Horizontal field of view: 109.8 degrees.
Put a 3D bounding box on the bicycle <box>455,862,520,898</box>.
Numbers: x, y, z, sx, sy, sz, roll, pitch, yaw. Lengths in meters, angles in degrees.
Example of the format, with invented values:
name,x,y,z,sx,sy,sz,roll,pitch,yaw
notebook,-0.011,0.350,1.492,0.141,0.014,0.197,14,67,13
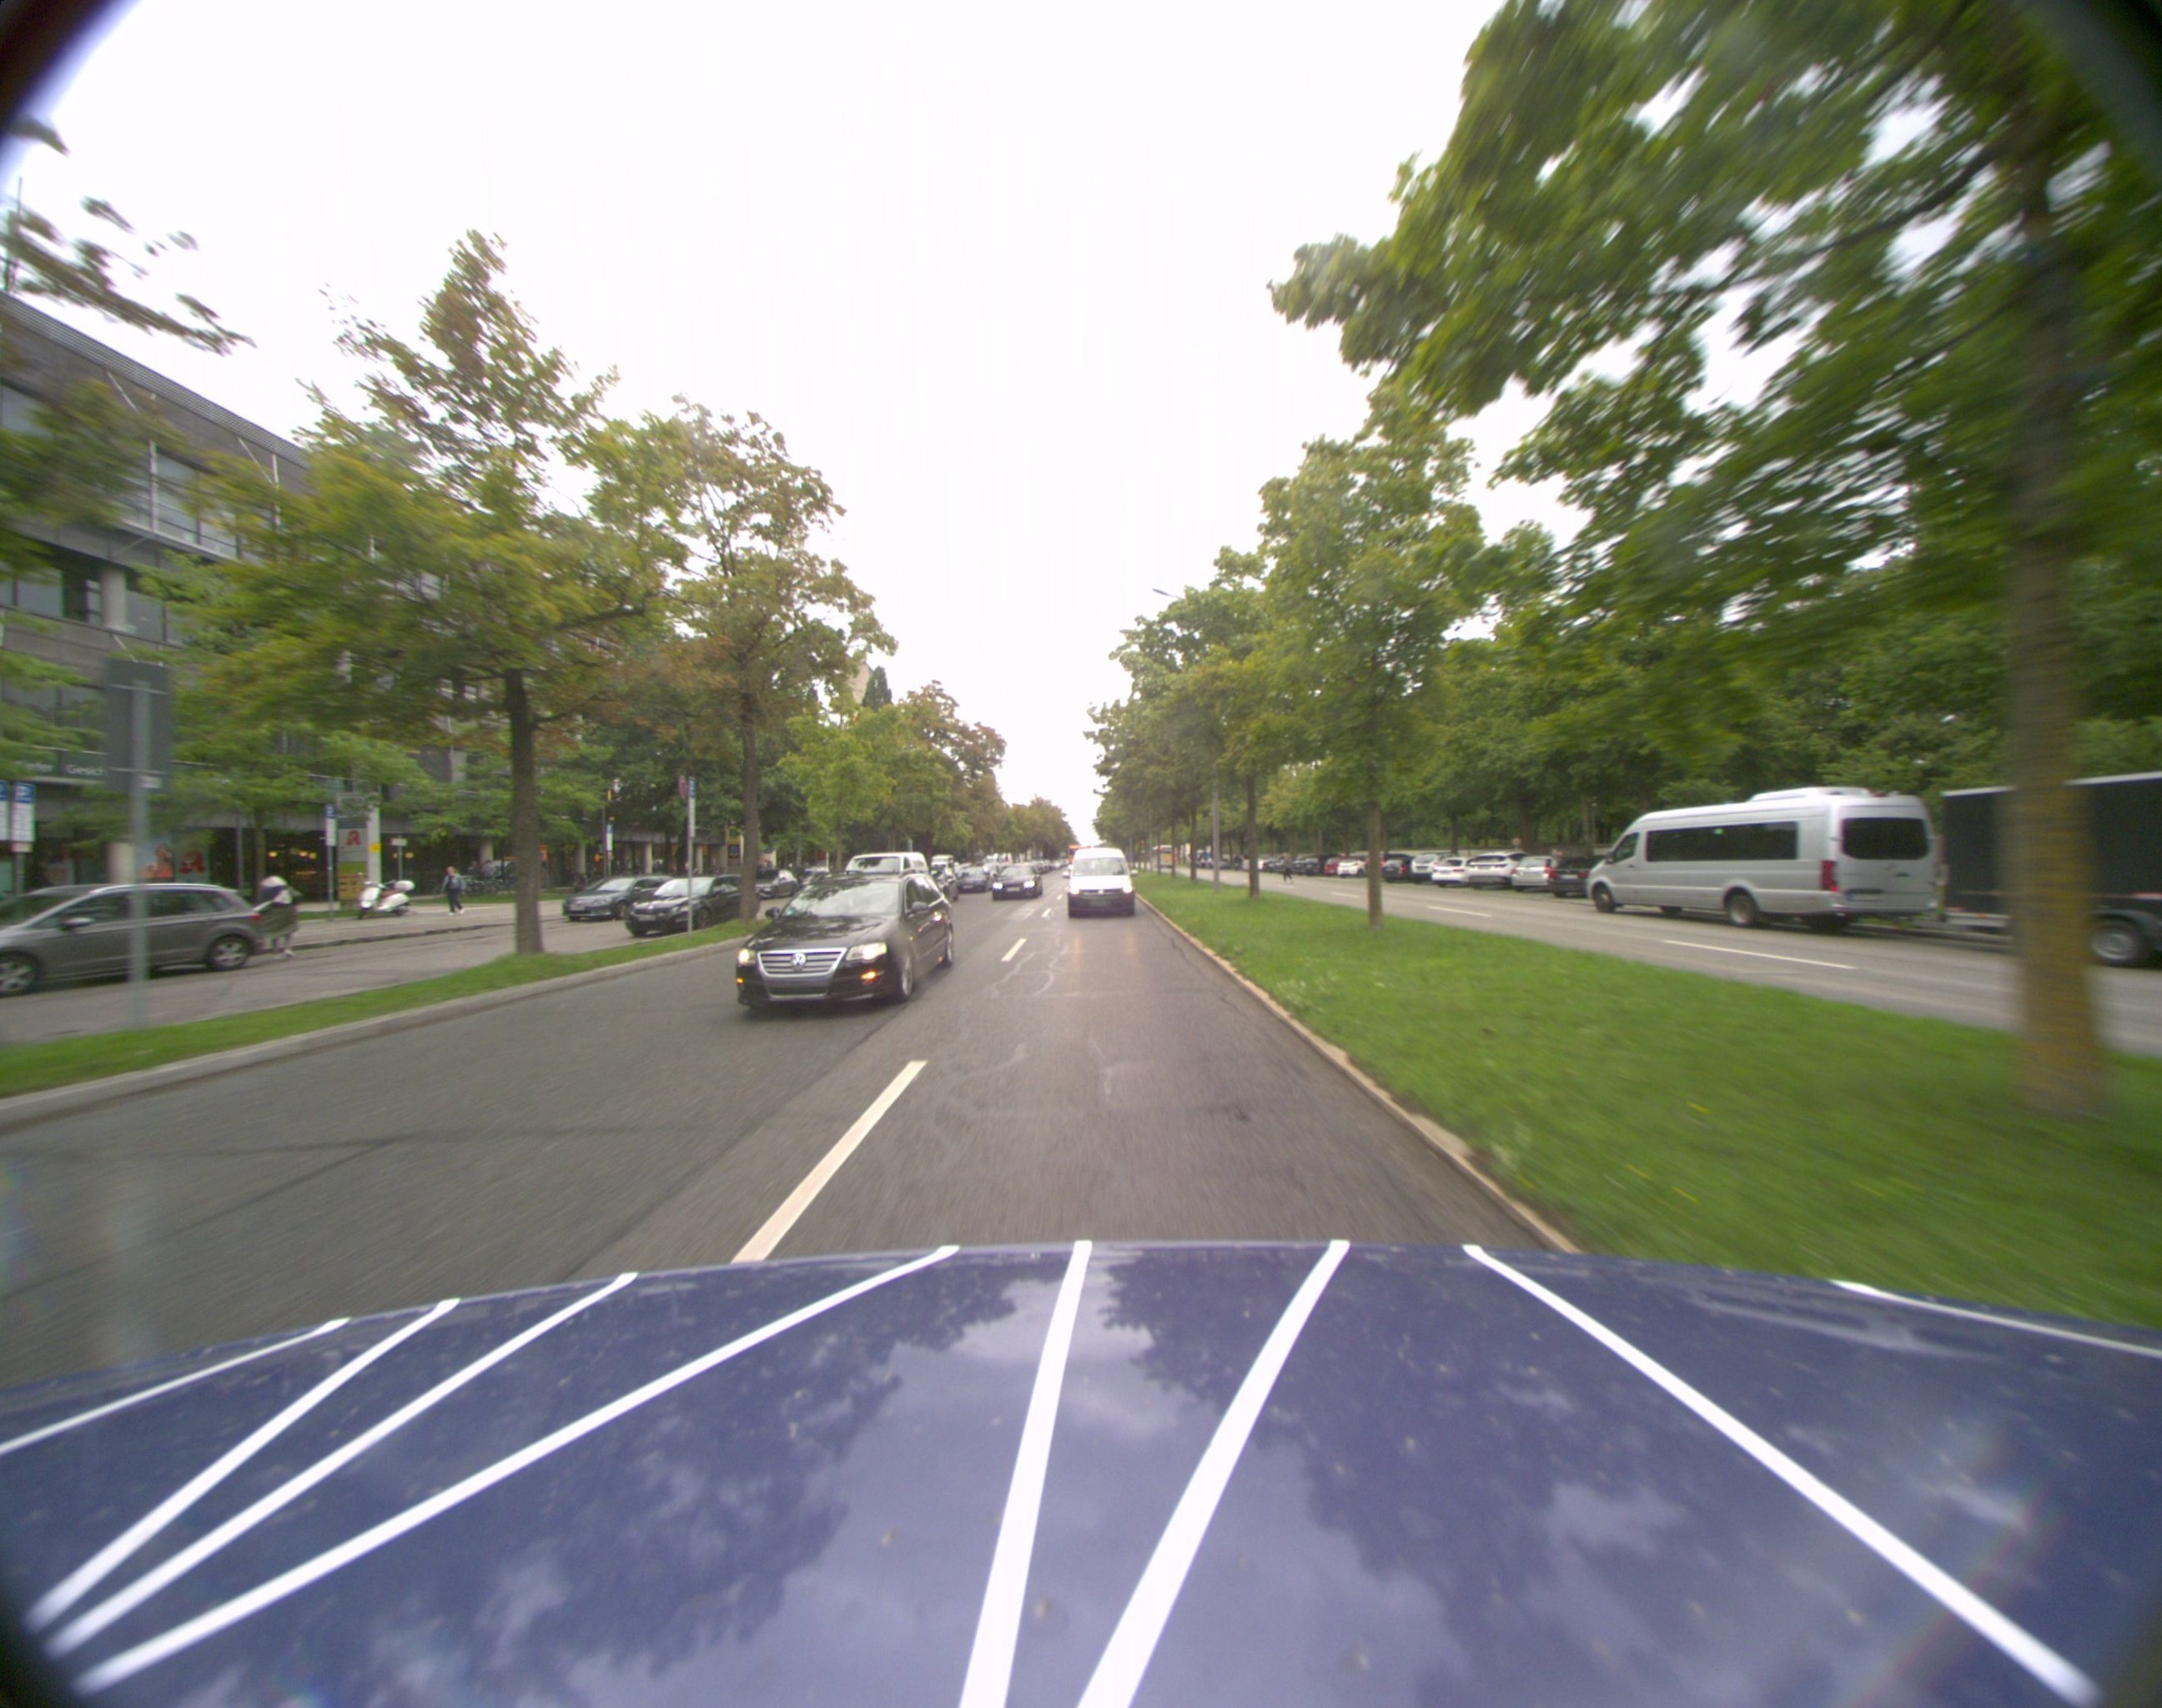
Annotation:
name,x,y,z,sx,sy,sz,roll,pitch,yaw
bicycle,-28.161,1.226,36.077,2.316,1.613,0.648,-1,0,-16

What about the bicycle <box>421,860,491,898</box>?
name,x,y,z,sx,sy,sz,roll,pitch,yaw
bicycle,-27.938,1.104,33.987,2.316,1.613,0.648,-1,0,-16

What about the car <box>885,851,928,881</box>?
name,x,y,z,sx,sy,sz,roll,pitch,yaw
car,-15.397,1.015,67.313,2.268,2.514,5.858,-1,0,1

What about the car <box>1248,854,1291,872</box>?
name,x,y,z,sx,sy,sz,roll,pitch,yaw
car,19.078,0.887,76.920,4.006,1.548,1.887,-3,-1,-31

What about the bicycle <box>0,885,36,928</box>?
name,x,y,z,sx,sy,sz,roll,pitch,yaw
bicycle,-29.088,1.408,20.170,2.080,1.114,0.455,-1,0,1

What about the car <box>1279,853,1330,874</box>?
name,x,y,z,sx,sy,sz,roll,pitch,yaw
car,19.144,0.848,64.974,4.006,1.548,1.887,-3,-1,-31

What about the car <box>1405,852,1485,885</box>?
name,x,y,z,sx,sy,sz,roll,pitch,yaw
car,19.395,0.744,40.430,4.331,1.564,1.797,-2,1,-33

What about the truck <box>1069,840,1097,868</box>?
name,x,y,z,sx,sy,sz,roll,pitch,yaw
truck,0.306,-0.052,93.439,3.046,3.170,9.134,-2,0,2

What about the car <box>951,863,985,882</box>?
name,x,y,z,sx,sy,sz,roll,pitch,yaw
car,-9.296,1.501,62.663,1.826,1.338,4.438,-3,0,3

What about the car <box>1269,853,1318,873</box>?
name,x,y,z,sx,sy,sz,roll,pitch,yaw
car,19.022,0.813,67.905,4.006,1.548,1.887,-3,-1,-31

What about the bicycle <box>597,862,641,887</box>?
name,x,y,z,sx,sy,sz,roll,pitch,yaw
bicycle,-28.261,1.250,46.478,2.313,1.523,0.649,-1,0,1

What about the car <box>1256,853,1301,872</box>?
name,x,y,z,sx,sy,sz,roll,pitch,yaw
car,19.378,0.828,74.447,4.006,1.548,1.887,-3,-1,-31

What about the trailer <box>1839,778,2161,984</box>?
name,x,y,z,sx,sy,sz,roll,pitch,yaw
trailer,14.548,0.347,11.265,2.022,2.575,4.659,0,0,1

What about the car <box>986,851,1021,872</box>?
name,x,y,z,sx,sy,sz,roll,pitch,yaw
car,-10.412,0.958,102.724,1.975,2.641,6.014,-3,0,21

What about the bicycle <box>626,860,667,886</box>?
name,x,y,z,sx,sy,sz,roll,pitch,yaw
bicycle,-28.261,1.219,49.447,2.313,1.613,0.649,-1,0,1

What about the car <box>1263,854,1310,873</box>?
name,x,y,z,sx,sy,sz,roll,pitch,yaw
car,19.320,0.849,71.375,4.006,1.548,1.887,-3,-1,-31

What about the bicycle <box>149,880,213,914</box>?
name,x,y,z,sx,sy,sz,roll,pitch,yaw
bicycle,-32.408,1.527,27.390,0.455,1.113,1.554,-1,0,-3

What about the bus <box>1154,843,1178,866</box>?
name,x,y,z,sx,sy,sz,roll,pitch,yaw
bus,12.957,0.010,116.258,2.676,3.279,11.926,0,0,2

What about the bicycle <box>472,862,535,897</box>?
name,x,y,z,sx,sy,sz,roll,pitch,yaw
bicycle,-28.091,1.213,36.970,2.316,1.613,0.648,-1,0,-16

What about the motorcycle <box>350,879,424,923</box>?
name,x,y,z,sx,sy,sz,roll,pitch,yaw
motorcycle,-21.479,1.418,23.562,0.473,1.223,1.948,2,0,1

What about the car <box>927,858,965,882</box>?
name,x,y,z,sx,sy,sz,roll,pitch,yaw
car,-9.568,1.113,54.283,1.826,1.581,4.875,-3,0,0

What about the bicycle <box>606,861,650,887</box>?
name,x,y,z,sx,sy,sz,roll,pitch,yaw
bicycle,-28.402,1.251,47.642,2.313,1.613,0.649,-1,0,1

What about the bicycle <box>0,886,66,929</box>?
name,x,y,z,sx,sy,sz,roll,pitch,yaw
bicycle,-29.243,1.468,20.888,2.080,1.114,0.455,-1,0,1

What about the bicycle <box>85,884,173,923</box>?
name,x,y,z,sx,sy,sz,roll,pitch,yaw
bicycle,-28.688,1.488,22.910,2.080,1.114,0.455,-1,0,1

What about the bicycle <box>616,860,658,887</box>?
name,x,y,z,sx,sy,sz,roll,pitch,yaw
bicycle,-28.360,1.243,48.543,2.313,1.613,0.649,-1,0,1

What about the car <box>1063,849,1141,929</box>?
name,x,y,z,sx,sy,sz,roll,pitch,yaw
car,0.499,0.828,20.251,1.750,1.807,4.667,-3,0,0

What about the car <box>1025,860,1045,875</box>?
name,x,y,z,sx,sy,sz,roll,pitch,yaw
car,-4.795,1.388,79.627,1.735,1.507,4.442,-3,0,0

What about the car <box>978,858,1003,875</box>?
name,x,y,z,sx,sy,sz,roll,pitch,yaw
car,-8.915,1.233,75.165,1.826,1.534,4.055,-3,0,1

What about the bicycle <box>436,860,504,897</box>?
name,x,y,z,sx,sy,sz,roll,pitch,yaw
bicycle,-28.049,1.124,34.915,2.316,1.613,0.648,-1,0,-16

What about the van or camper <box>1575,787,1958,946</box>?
name,x,y,z,sx,sy,sz,roll,pitch,yaw
van or camper,14.695,0.230,17.345,2.040,2.821,7.547,0,0,1

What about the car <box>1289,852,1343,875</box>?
name,x,y,z,sx,sy,sz,roll,pitch,yaw
car,19.077,0.765,61.691,4.006,1.548,1.887,-3,-1,-31

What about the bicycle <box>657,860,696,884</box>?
name,x,y,z,sx,sy,sz,roll,pitch,yaw
bicycle,-28.440,1.277,53.457,2.316,1.613,0.648,-1,0,-16

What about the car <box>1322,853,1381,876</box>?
name,x,y,z,sx,sy,sz,roll,pitch,yaw
car,19.838,0.770,55.748,4.005,1.446,1.737,-3,0,-26
